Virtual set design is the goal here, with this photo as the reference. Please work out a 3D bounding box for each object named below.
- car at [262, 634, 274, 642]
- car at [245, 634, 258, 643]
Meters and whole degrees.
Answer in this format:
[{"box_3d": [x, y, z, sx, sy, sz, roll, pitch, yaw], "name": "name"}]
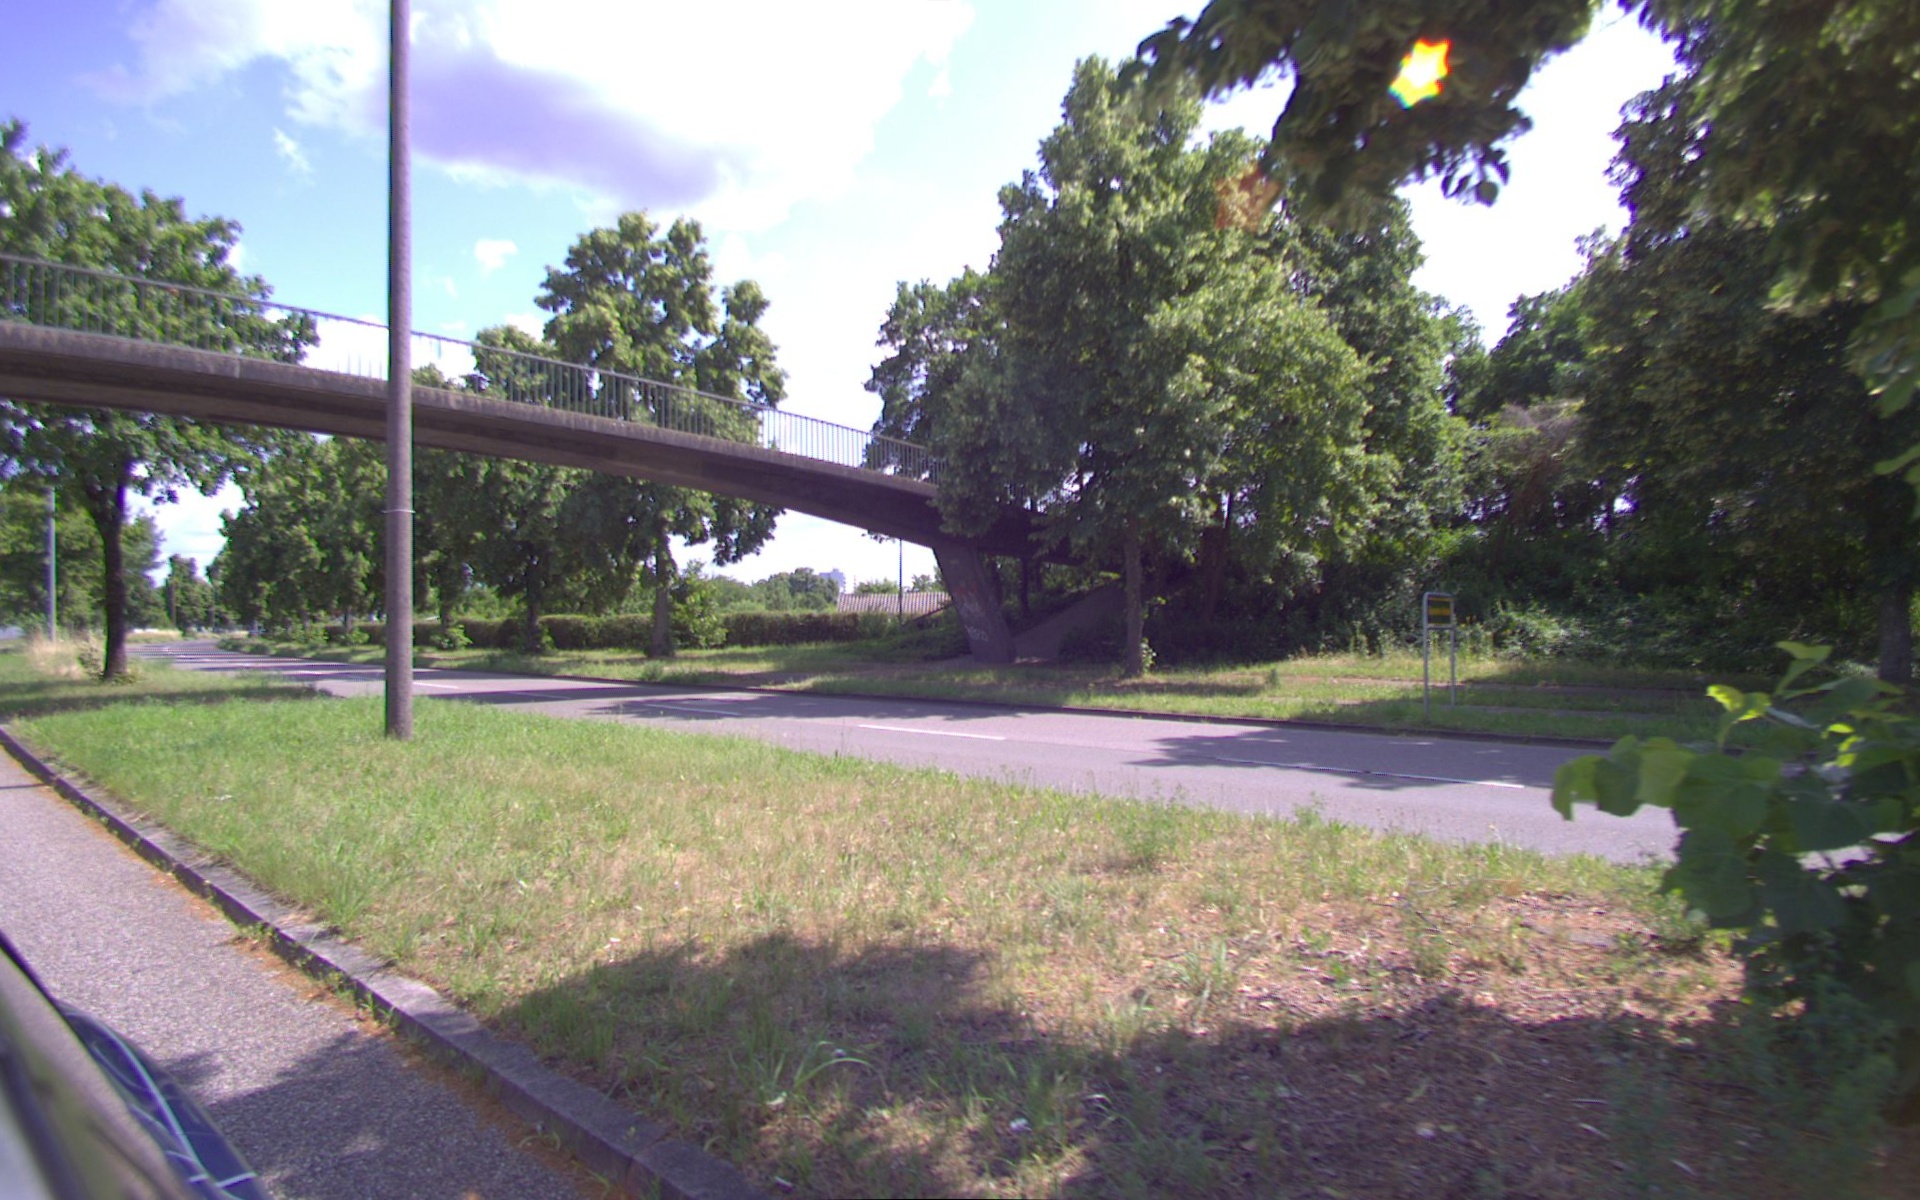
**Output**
[{"box_3d": [-143.013, 7.936, 209.222, 1.712, 1.598, 4.124, 1, -3, -30], "name": "car"}, {"box_3d": [-130.152, 7.132, 185.841, 1.712, 1.598, 4.124, 2, -3, -32], "name": "car"}]
